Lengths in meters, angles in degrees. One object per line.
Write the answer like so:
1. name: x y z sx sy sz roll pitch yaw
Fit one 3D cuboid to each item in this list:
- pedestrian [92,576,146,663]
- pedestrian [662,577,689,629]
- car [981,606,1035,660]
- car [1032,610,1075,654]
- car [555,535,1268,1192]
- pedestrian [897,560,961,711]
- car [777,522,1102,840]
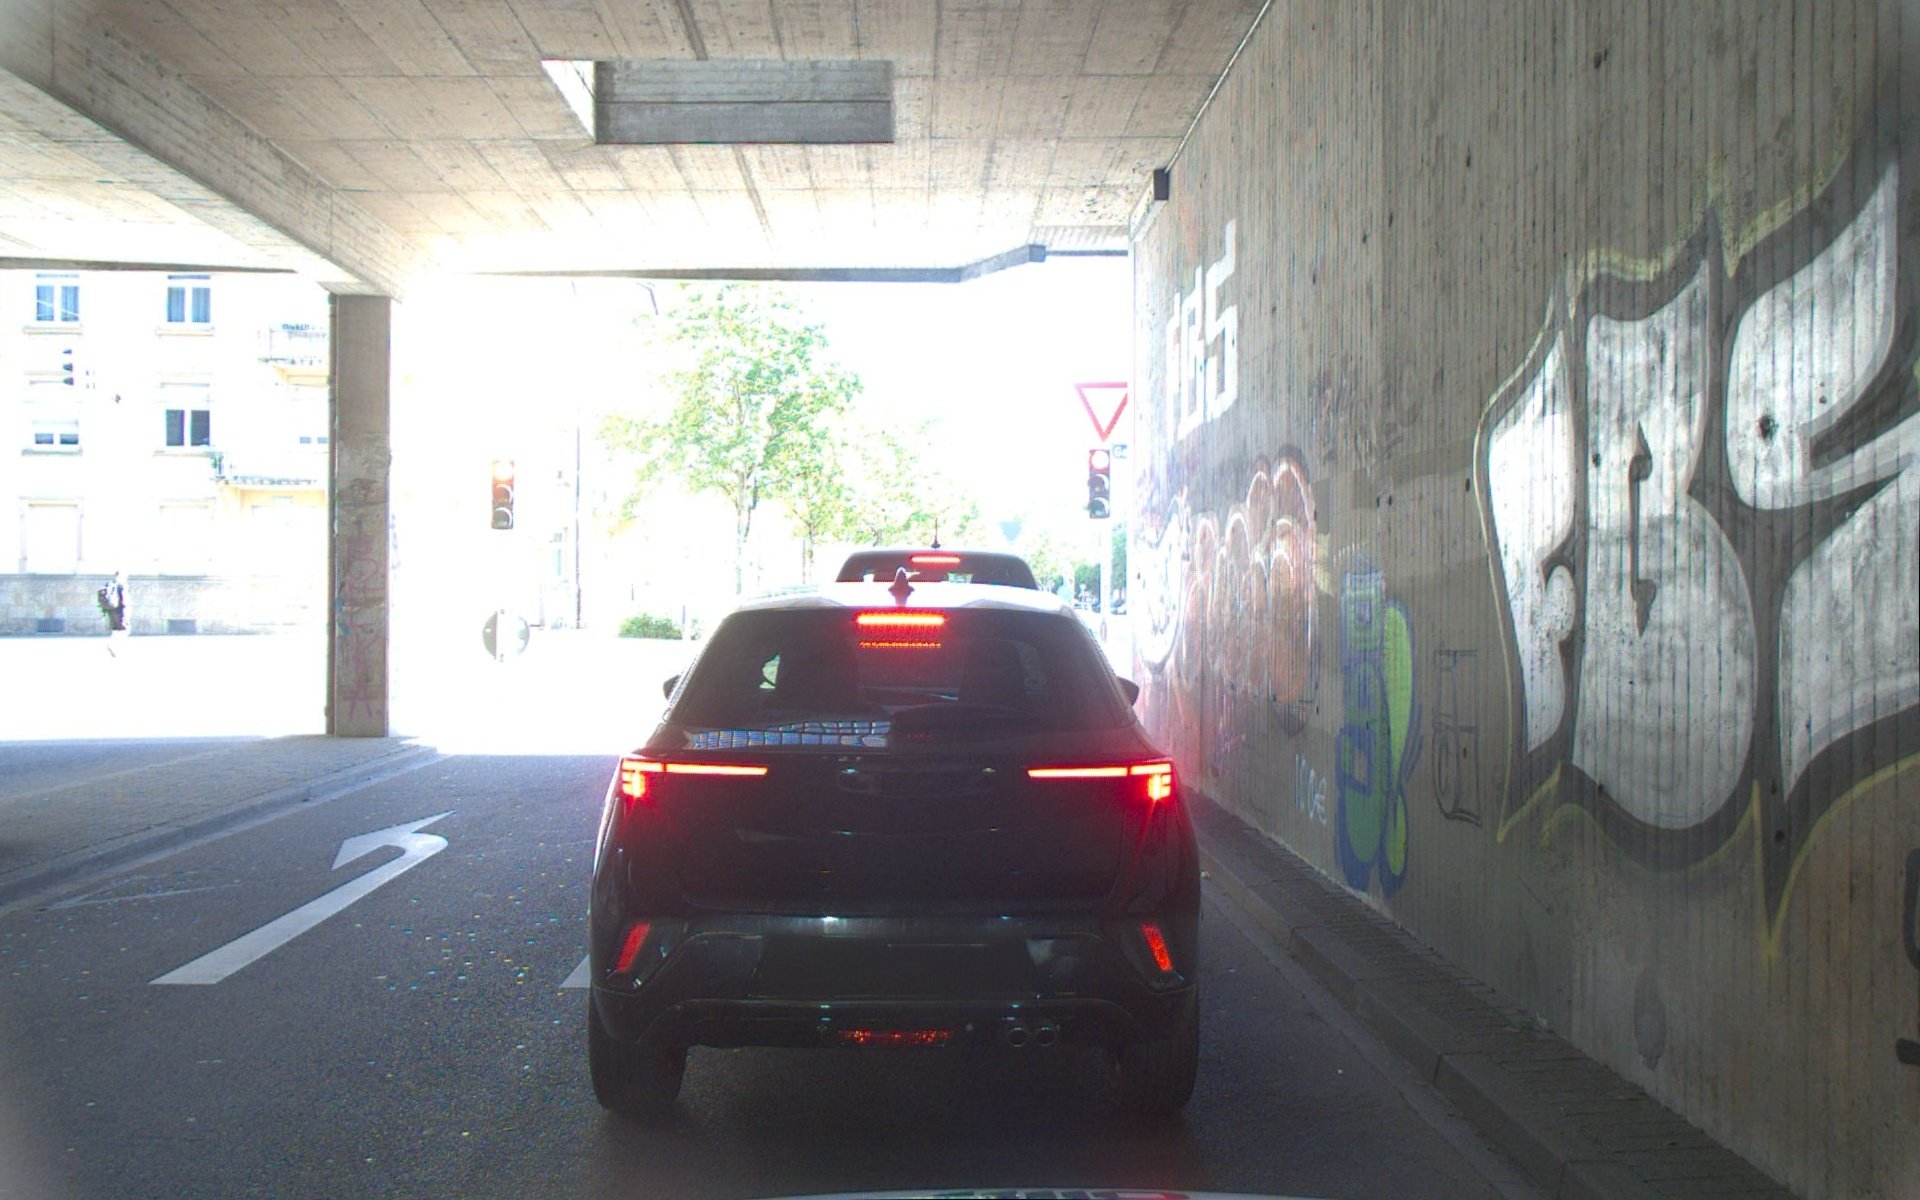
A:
1. pedestrian: -16.504 0.382 32.475 0.658 1.666 0.740 1 -1 -1
2. pedestrian: -11.661 0.124 67.817 0.873 2.124 0.808 1 -1 7
3. car: 1.940 1.277 65.568 1.951 2.004 4.166 1 0 4
4. car: 4.451 1.502 78.342 1.951 2.004 4.166 1 0 4
5. car: -0.146 0.608 6.076 1.729 1.598 4.000 1 1 -1
6. pedestrian: -0.367 0.416 19.844 0.716 1.764 0.874 1 -1 -1
7. car: -0.150 0.475 11.982 1.953 1.904 3.999 0 0 -1
